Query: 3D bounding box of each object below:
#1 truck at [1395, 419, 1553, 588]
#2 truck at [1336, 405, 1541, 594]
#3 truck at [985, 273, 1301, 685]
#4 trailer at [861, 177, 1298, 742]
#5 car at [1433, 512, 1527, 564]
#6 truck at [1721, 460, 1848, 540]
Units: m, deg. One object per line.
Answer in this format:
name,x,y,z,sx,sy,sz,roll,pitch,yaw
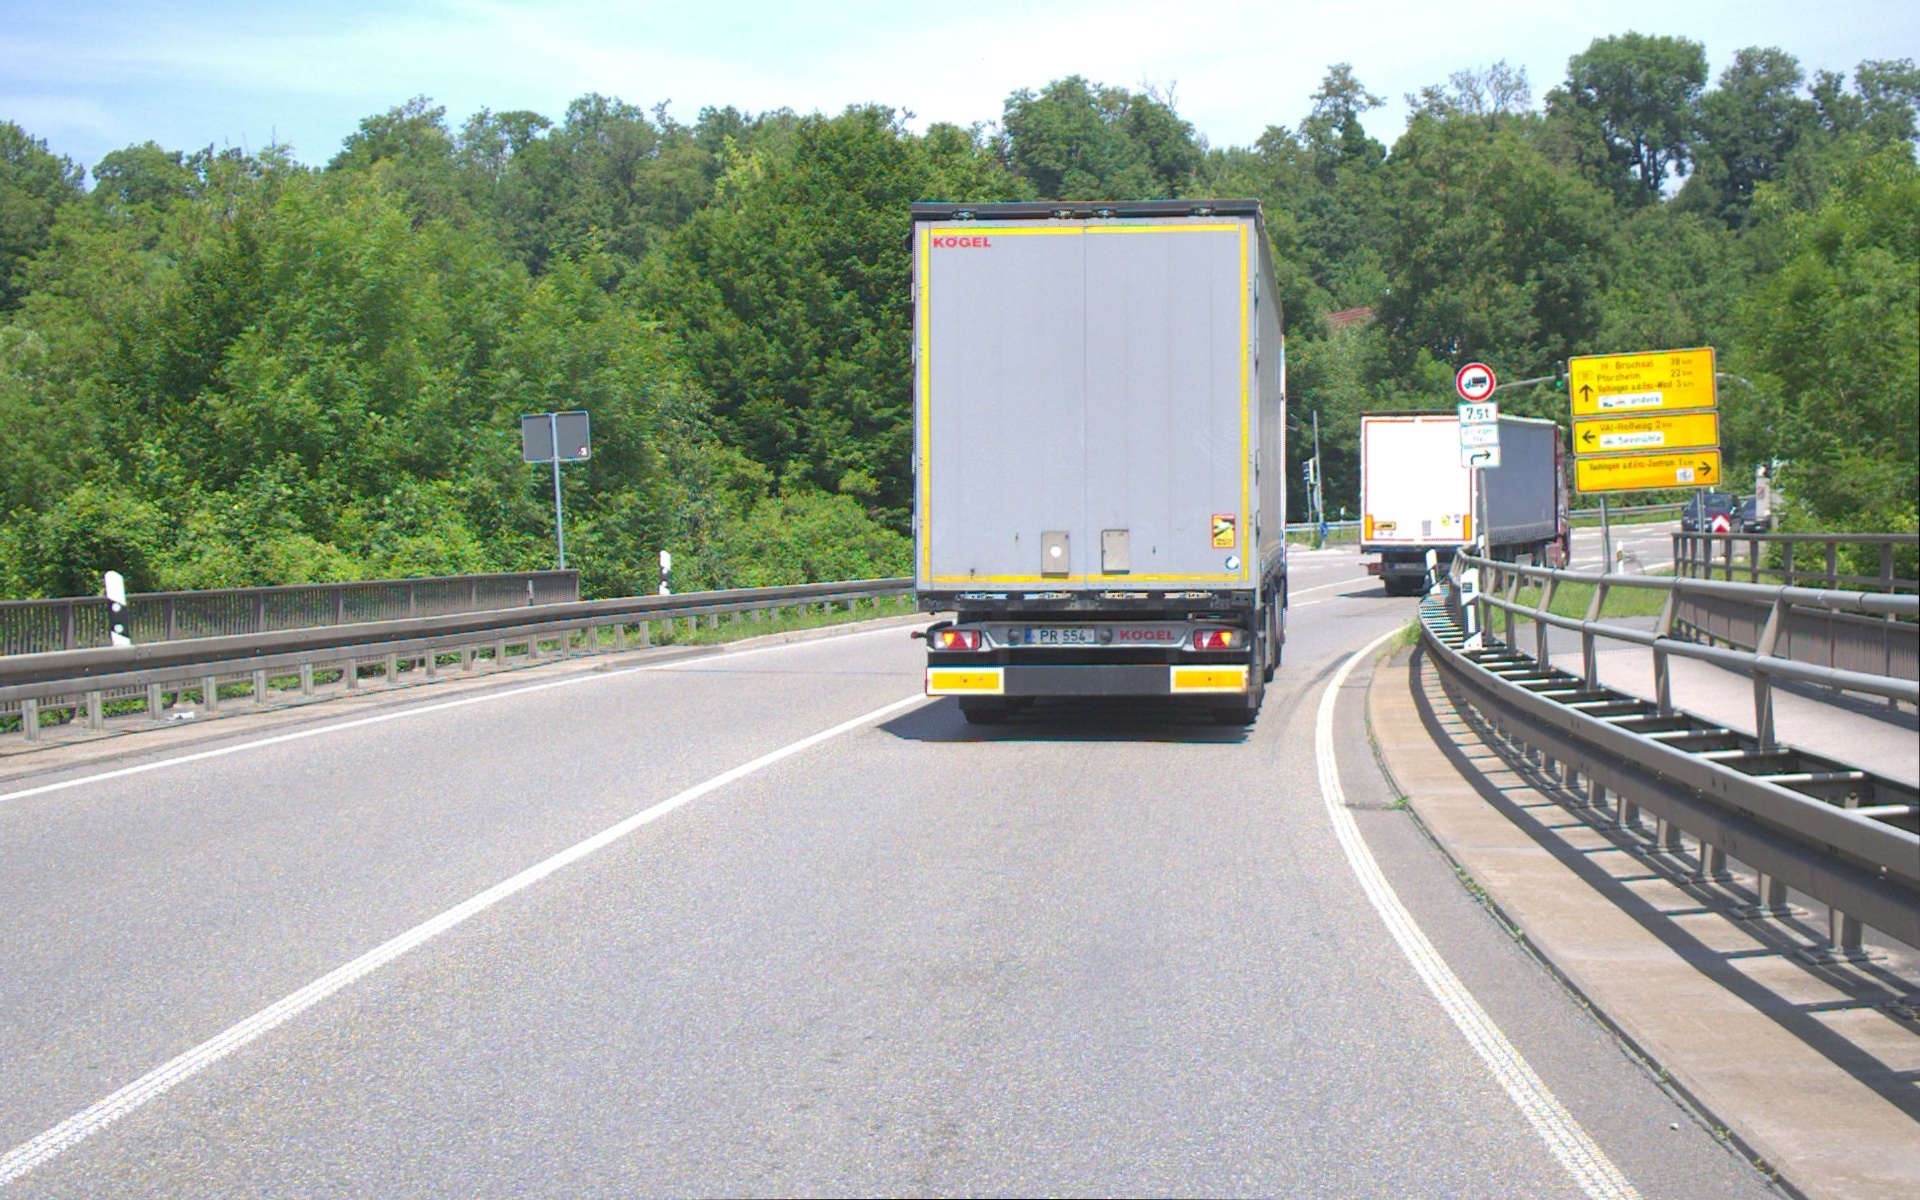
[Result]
truck,12.714,-2.326,84.708,3.171,3.990,5.811,0,1,15
truck,11.184,-2.227,79.193,3.181,4.015,11.737,0,1,15
truck,2.125,-1.246,37.181,3.038,4.020,6.628,-1,1,6
trailer,1.466,-1.121,30.948,3.052,4.020,12.556,-1,1,6
car,15.744,-1.861,103.937,1.996,1.514,3.996,1,0,21
truck,31.580,-3.845,131.523,2.860,2.937,7.093,0,2,30
